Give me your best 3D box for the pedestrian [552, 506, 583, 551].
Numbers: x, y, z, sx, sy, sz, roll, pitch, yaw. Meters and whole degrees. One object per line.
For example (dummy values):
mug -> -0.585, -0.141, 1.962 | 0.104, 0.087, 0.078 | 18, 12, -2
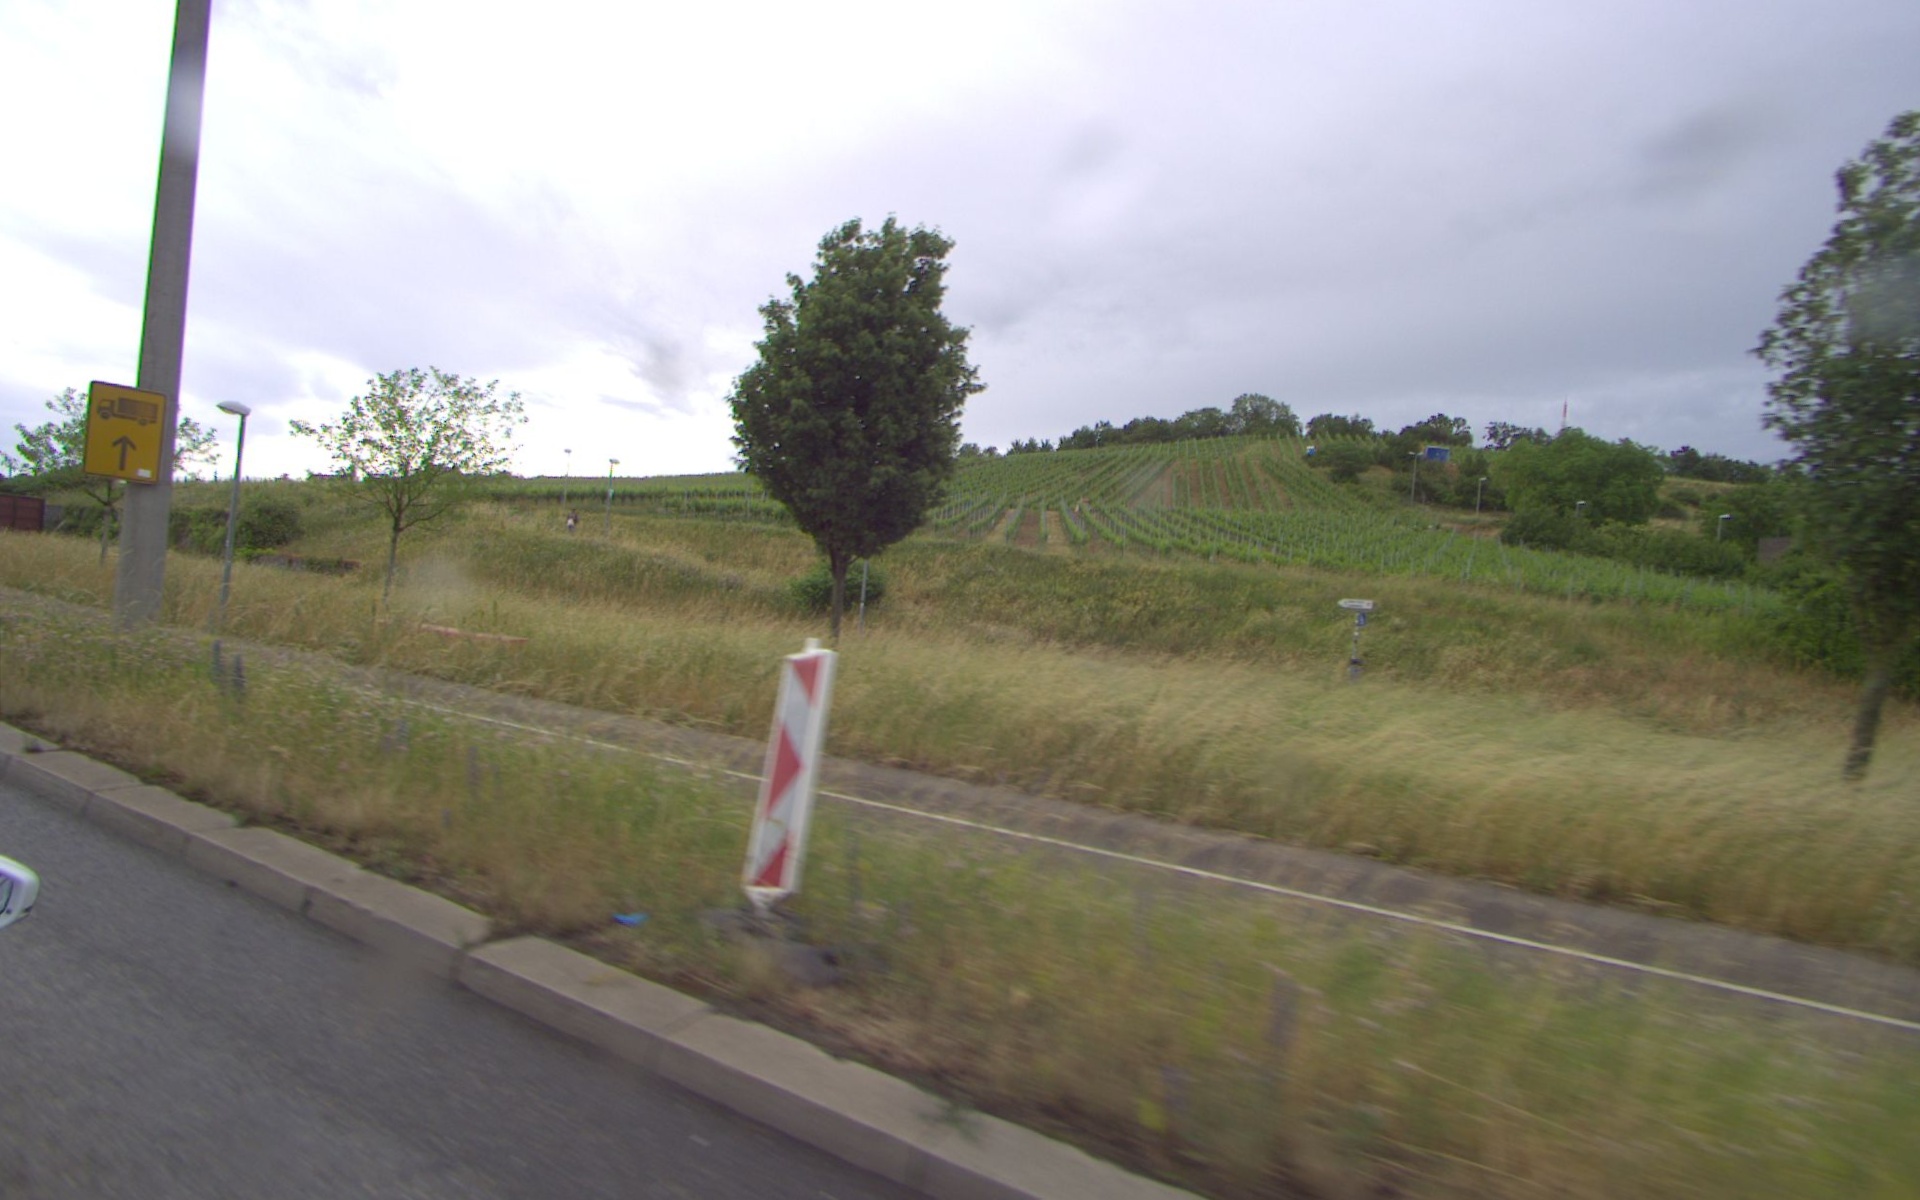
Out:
pedestrian -> -19.002, -3.464, 48.688 | 1.036, 2.040, 0.780 | 6, 2, -5
